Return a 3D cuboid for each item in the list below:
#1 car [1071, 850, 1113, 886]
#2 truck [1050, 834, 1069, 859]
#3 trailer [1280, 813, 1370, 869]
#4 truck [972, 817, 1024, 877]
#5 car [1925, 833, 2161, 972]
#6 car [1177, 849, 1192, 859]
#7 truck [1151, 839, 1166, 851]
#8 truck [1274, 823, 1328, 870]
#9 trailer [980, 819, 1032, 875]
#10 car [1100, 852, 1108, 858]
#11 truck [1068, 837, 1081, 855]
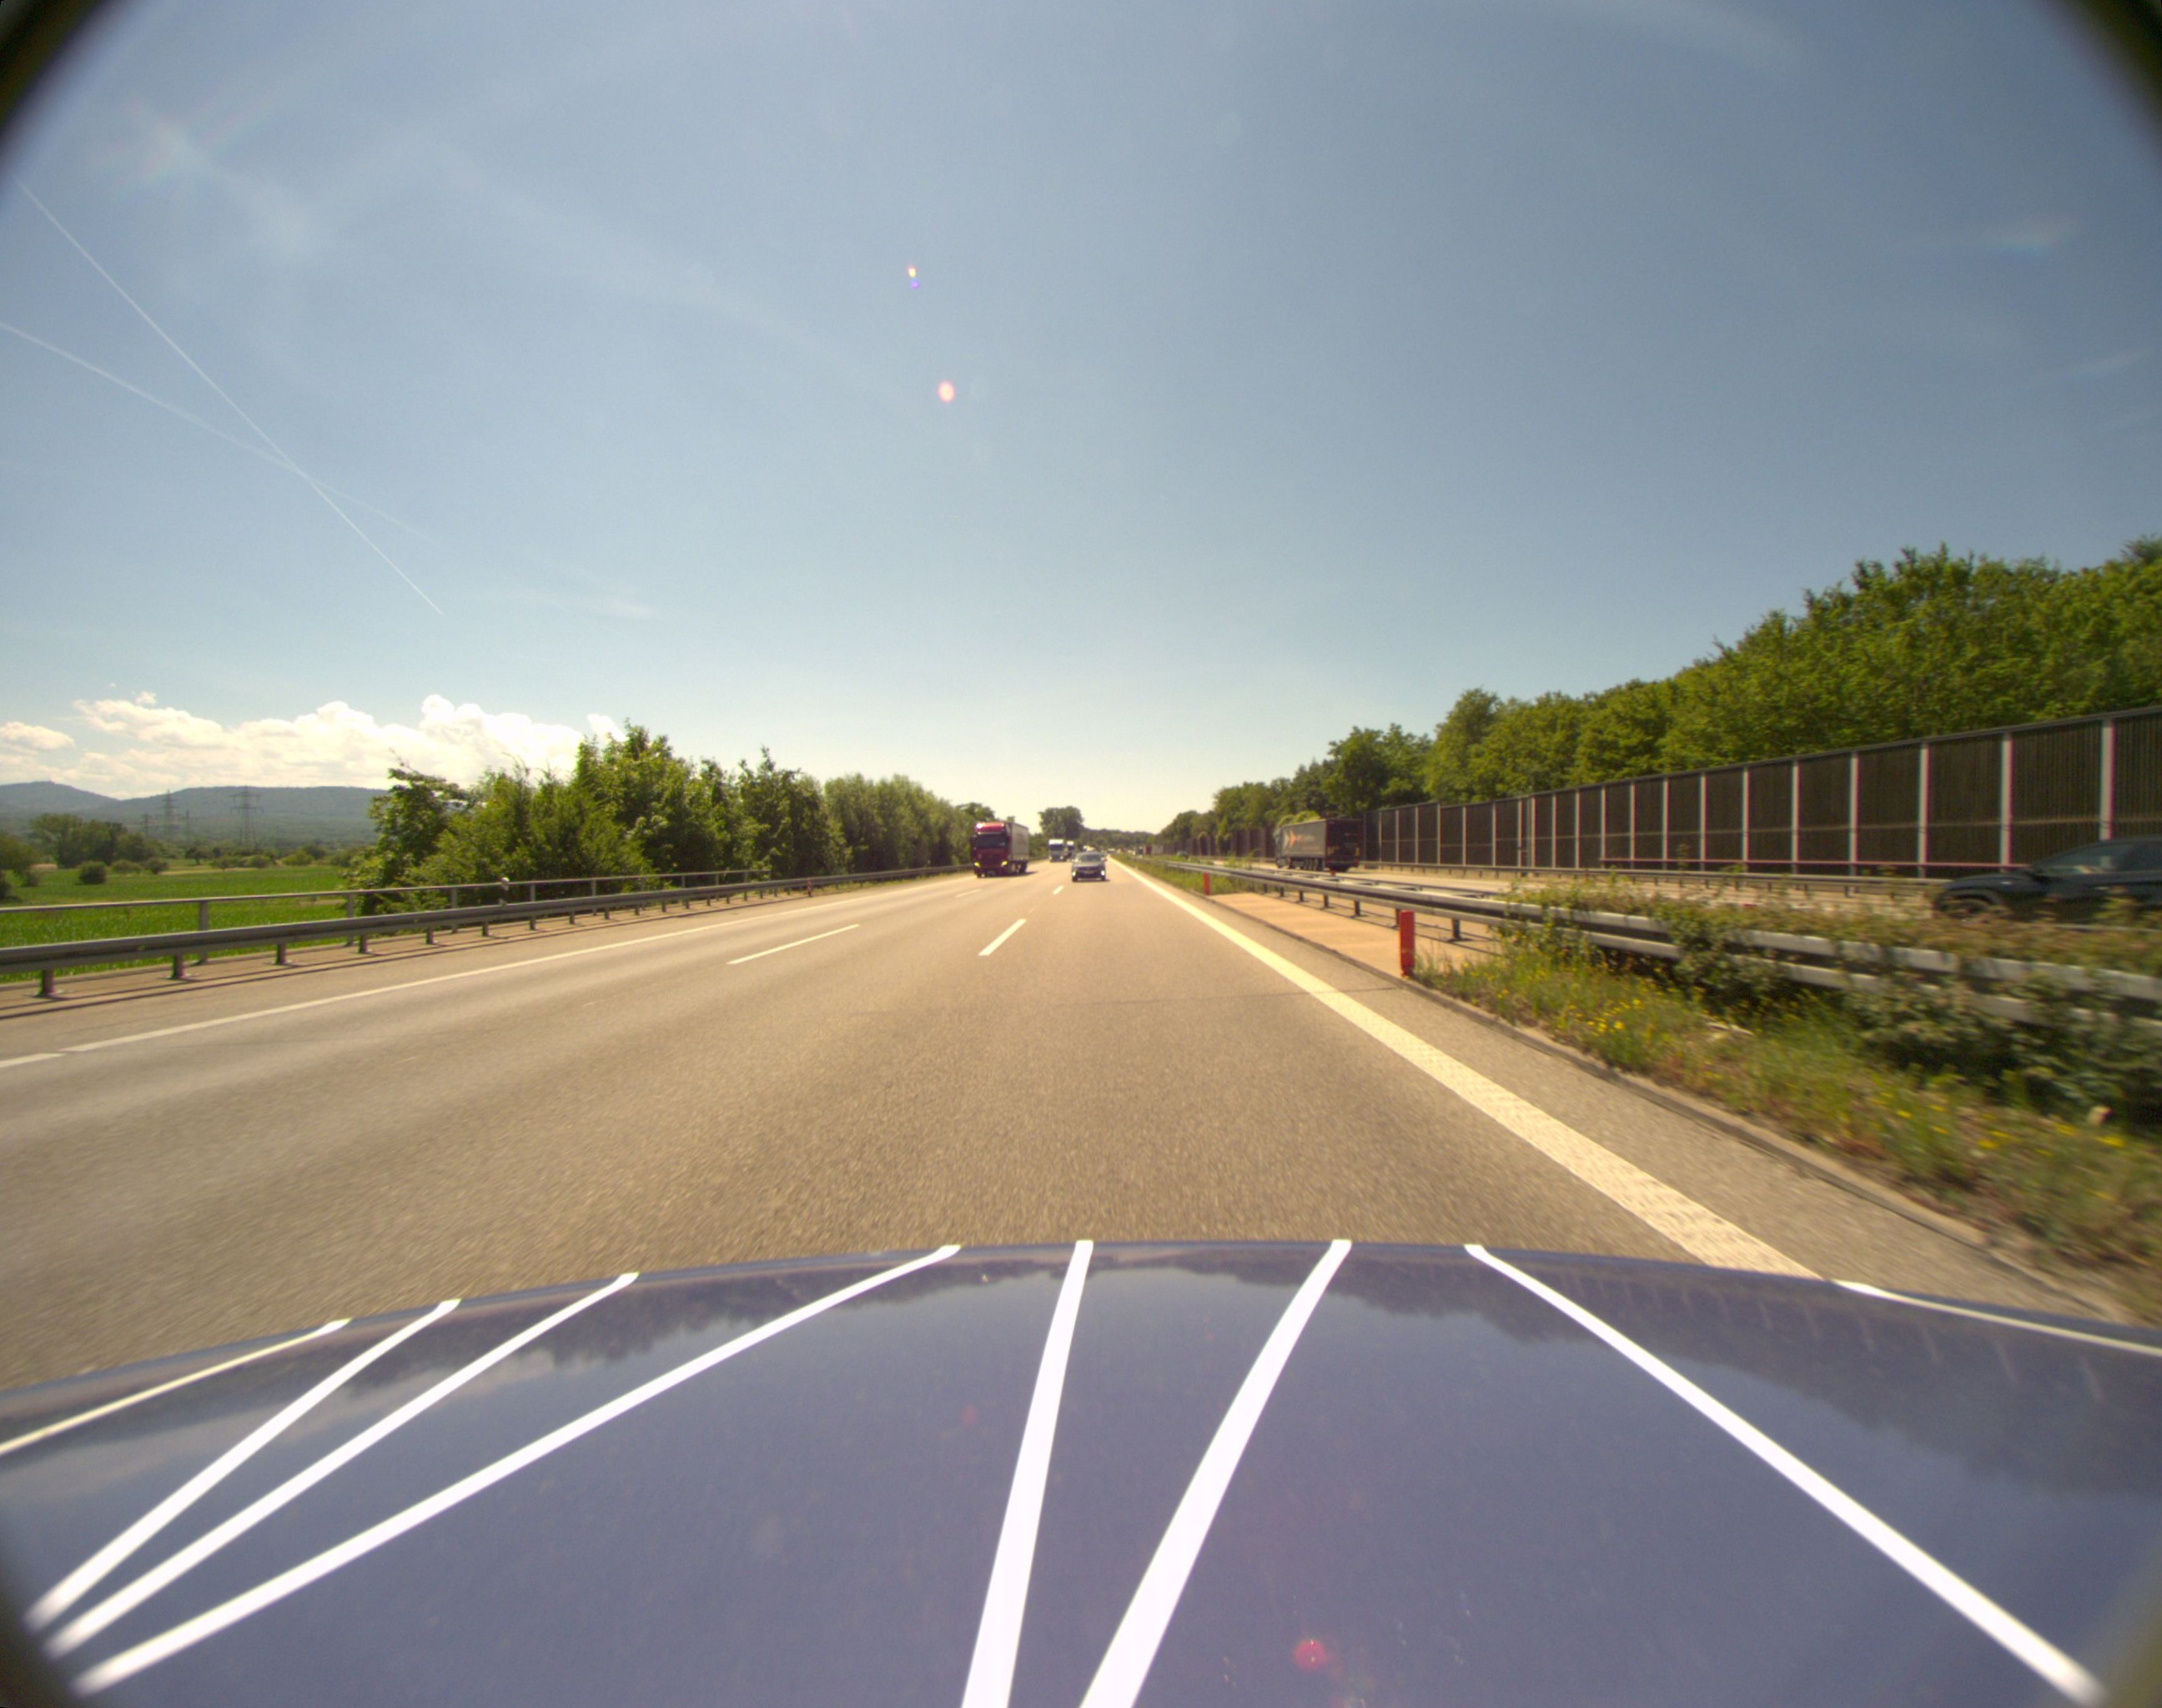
[{"bbox_3d":[0.531,0.637,38.062,1.885,1.630,5.008,-2,1,0],"label":"car"},{"bbox_3d":[-3.818,-1.338,138.047,2.992,4.248,9.822,-2,1,0],"label":"truck"},{"bbox_3d":[19.553,-1.010,62.241,3.125,3.985,13.875,1,1,1],"label":"trailer"},{"bbox_3d":[-6.179,-0.525,57.597,2.802,4.094,7.769,-2,1,1],"label":"truck"},{"bbox_3d":[14.293,0.582,9.752,1.885,1.682,4.548,-2,1,0],"label":"car"},{"bbox_3d":[17.123,-0.004,125.904,2.001,1.565,4.001,-2,1,3],"label":"car"},{"bbox_3d":[24.913,-2.847,243.715,3.557,3.662,10.967,-2,1,0],"label":"truck"},{"bbox_3d":[19.696,-0.675,68.452,3.100,3.985,6.190,1,1,1],"label":"truck"},{"bbox_3d":[-6.085,-0.600,63.619,2.802,4.094,12.298,-2,1,1],"label":"trailer"},{"bbox_3d":[6.431,0.269,210.441,1.999,1.772,3.999,-2,1,-1],"label":"car"},{"bbox_3d":[-1.372,-1.924,177.129,2.743,3.844,12.464,-2,1,0],"label":"truck"}]
